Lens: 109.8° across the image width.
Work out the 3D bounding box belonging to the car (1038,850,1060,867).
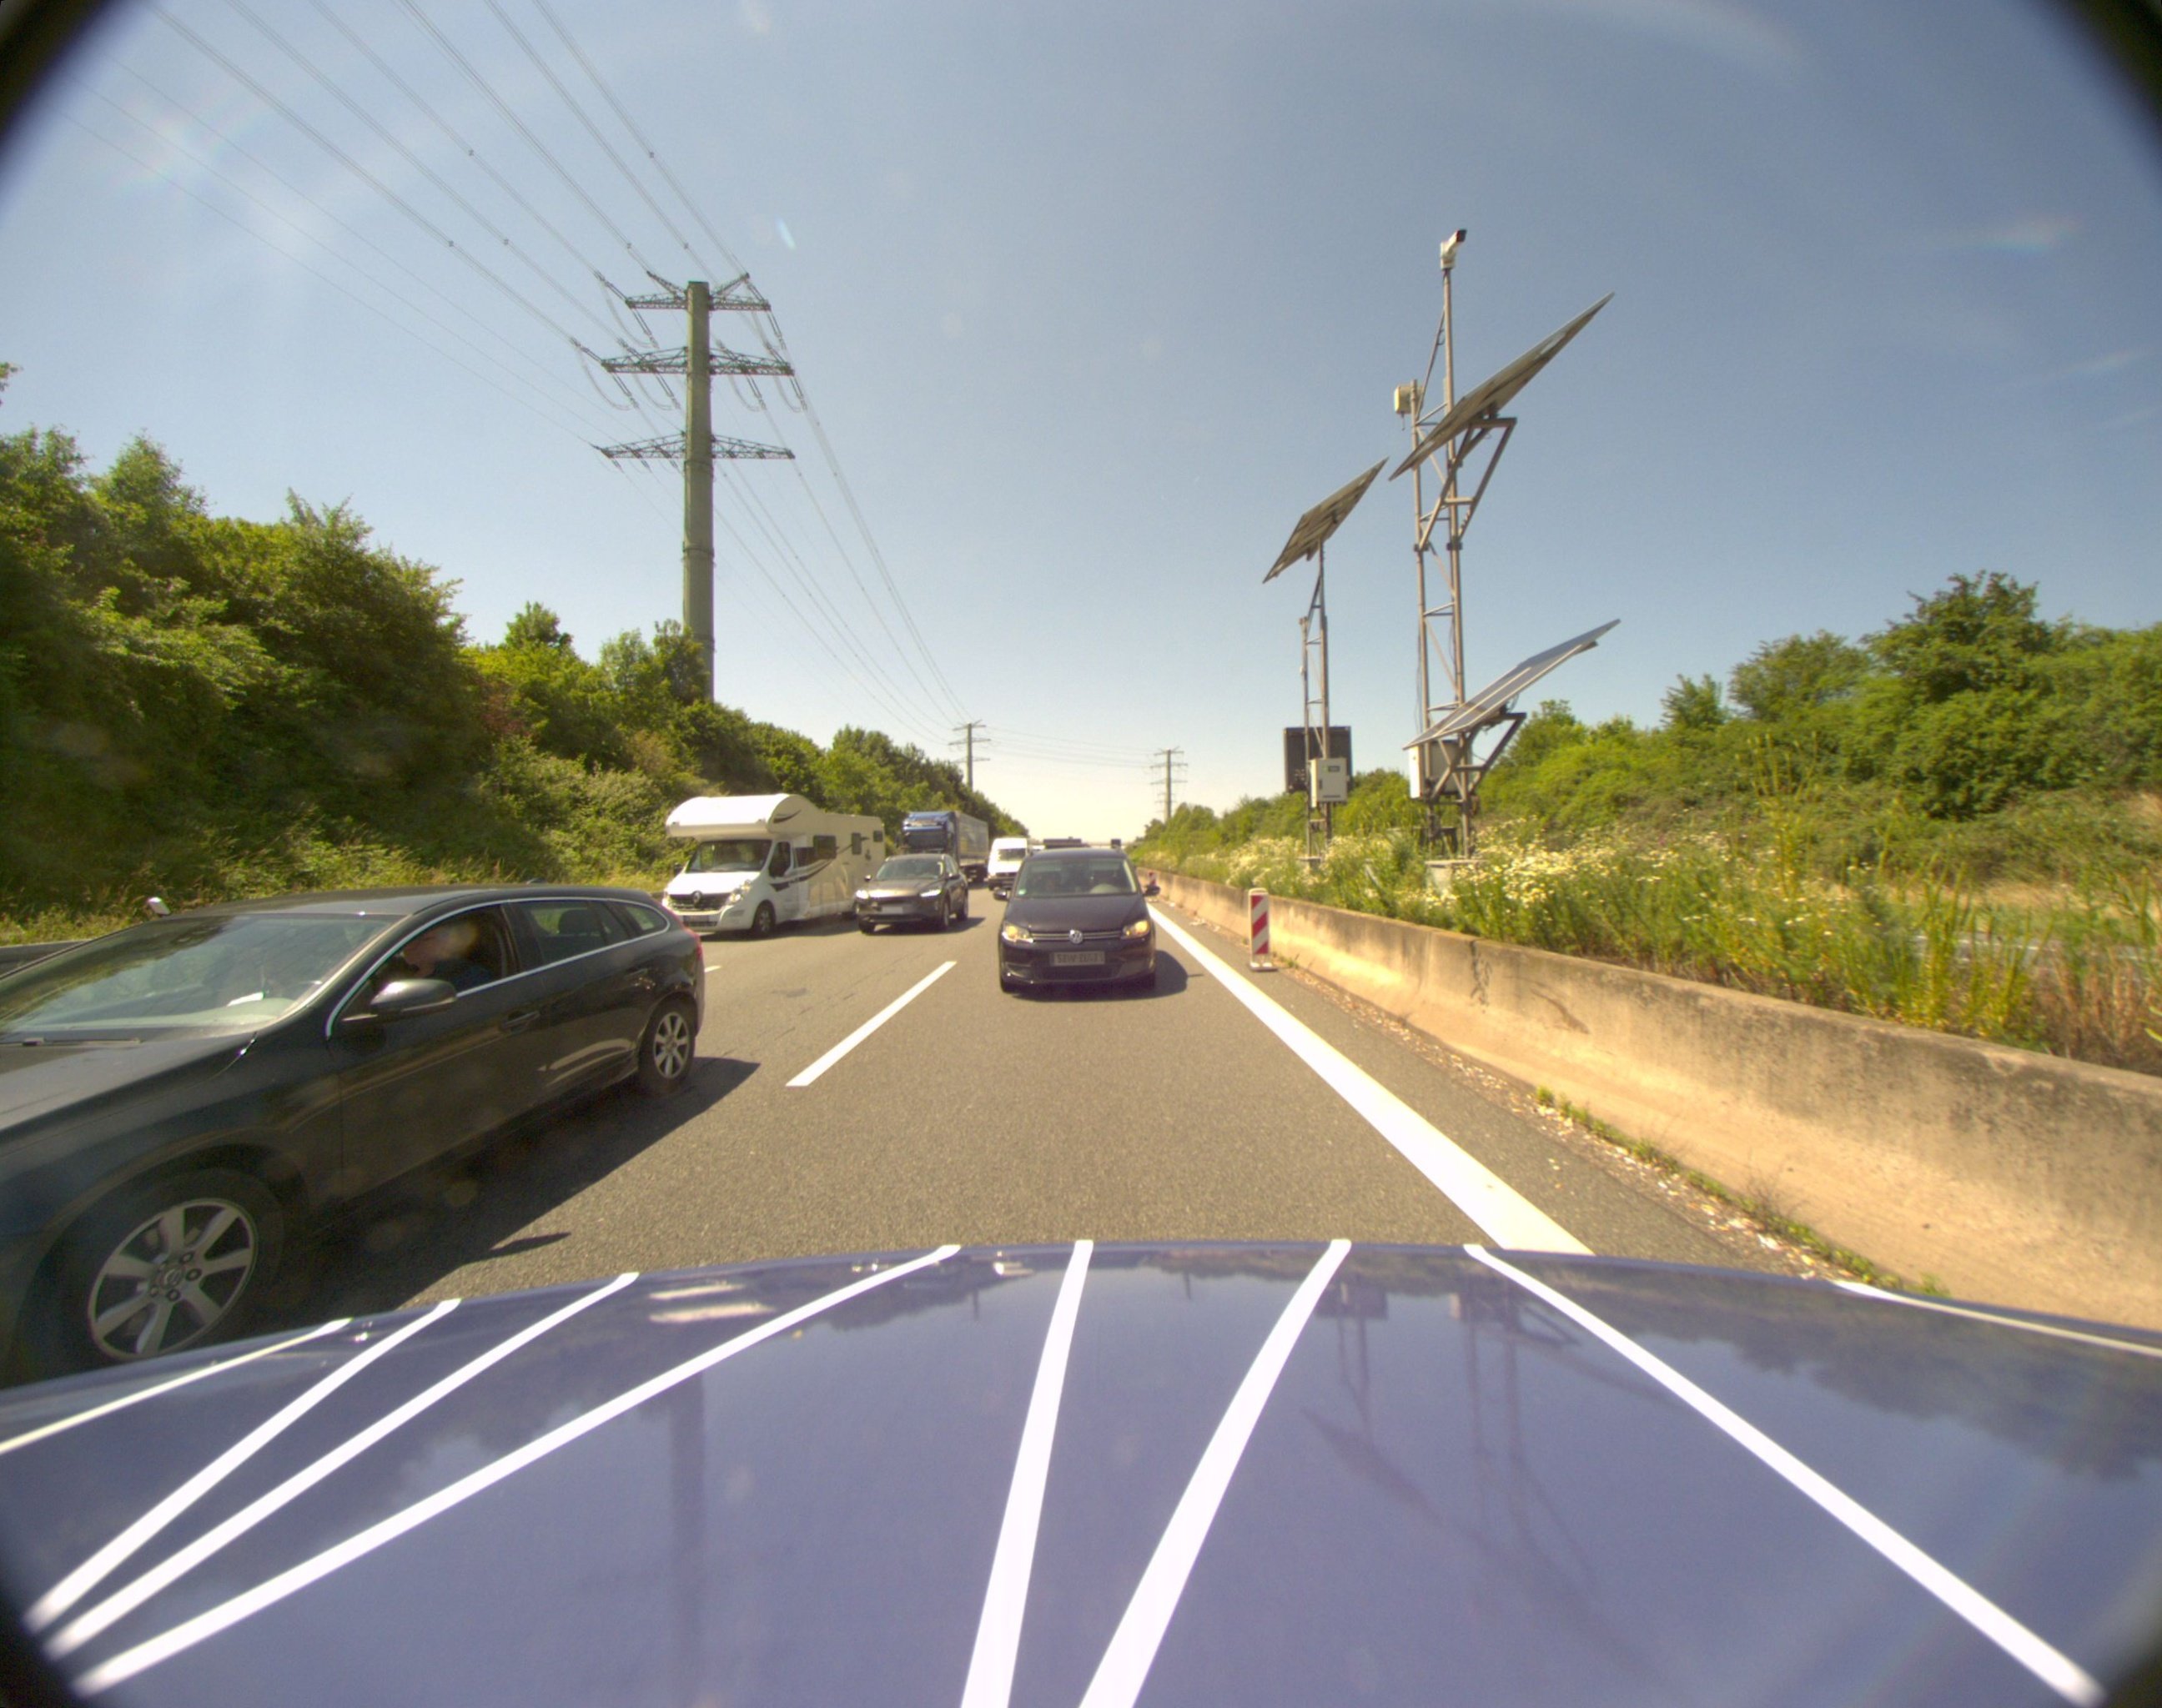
[{"bbox_3d":[-3.000,0.397,71.440,1.720,1.510,3.874,-2,1,1],"label":"car"}]

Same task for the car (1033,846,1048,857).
[{"bbox_3d":[-5.645,-0.359,105.219,1.720,1.510,3.874,-2,1,1],"label":"car"}]

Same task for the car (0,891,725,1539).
[{"bbox_3d":[-3.628,1.041,3.437,1.799,1.411,4.509,-2,1,1],"label":"car"}]

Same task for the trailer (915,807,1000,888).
[{"bbox_3d":[-7.317,-0.401,47.230,2.774,4.239,12.877,-2,1,1],"label":"trailer"}]

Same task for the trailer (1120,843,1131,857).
[{"bbox_3d":[14.796,-1.362,255.586,2.967,4.378,12.904,-2,1,1],"label":"trailer"}]

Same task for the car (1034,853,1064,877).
[{"bbox_3d":[-2.205,0.757,53.020,1.720,1.510,3.874,-2,1,1],"label":"car"}]

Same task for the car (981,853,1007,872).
[{"bbox_3d":[-7.576,0.733,66.463,1.720,1.510,3.874,-2,1,1],"label":"car"}]

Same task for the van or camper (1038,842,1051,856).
[{"bbox_3d":[-6.630,-0.947,140.156,1.978,2.511,4.369,-2,1,1],"label":"van or camper"}]

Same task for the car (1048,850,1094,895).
[{"bbox_3d":[-0.339,0.701,31.044,1.700,1.641,4.219,-2,1,1],"label":"car"}]

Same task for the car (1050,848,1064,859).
[{"bbox_3d":[-3.380,-0.107,109.157,1.720,1.510,3.874,-2,1,1],"label":"car"}]

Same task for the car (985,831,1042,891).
[{"bbox_3d":[-3.265,0.287,38.119,2.042,2.703,6.705,-2,1,1],"label":"car"}]

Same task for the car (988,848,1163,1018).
[{"bbox_3d":[-0.019,0.777,9.771,1.700,1.641,4.219,-2,1,1],"label":"car"}]

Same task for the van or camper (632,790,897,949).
[{"bbox_3d":[-7.118,0.265,18.636,2.373,3.026,7.635,-2,1,7],"label":"van or camper"}]

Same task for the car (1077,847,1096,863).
[{"bbox_3d":[0.591,0.097,84.533,1.973,1.682,3.874,-2,1,1],"label":"car"}]

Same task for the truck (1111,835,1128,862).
[{"bbox_3d":[4.833,-0.723,96.595,1.892,3.264,5.590,-2,1,1],"label":"truck"}]

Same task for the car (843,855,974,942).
[{"bbox_3d":[-3.735,0.899,17.234,1.893,1.602,4.219,-2,1,1],"label":"car"}]

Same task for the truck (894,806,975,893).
[{"bbox_3d":[-7.442,-0.245,39.385,2.792,4.121,5.636,-2,1,1],"label":"truck"}]
